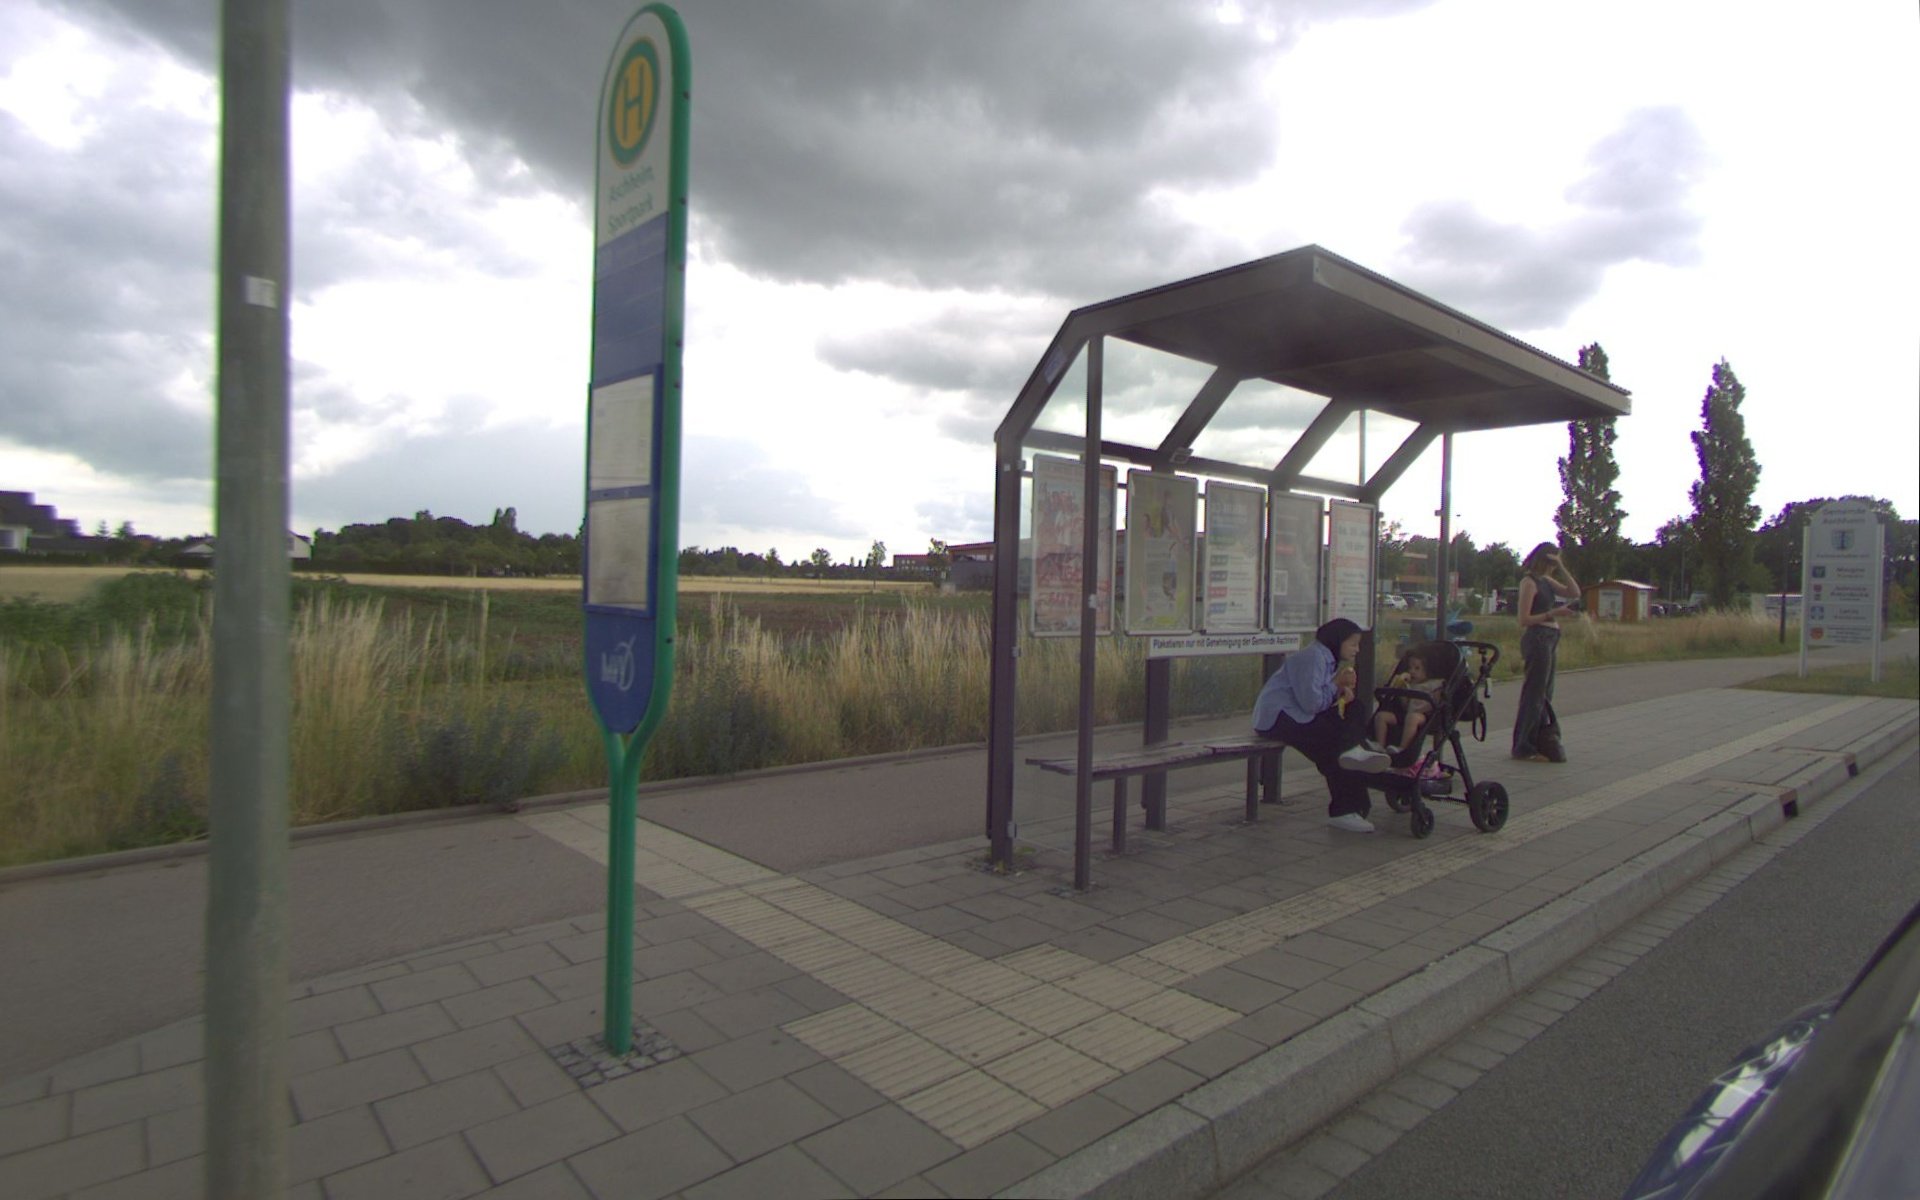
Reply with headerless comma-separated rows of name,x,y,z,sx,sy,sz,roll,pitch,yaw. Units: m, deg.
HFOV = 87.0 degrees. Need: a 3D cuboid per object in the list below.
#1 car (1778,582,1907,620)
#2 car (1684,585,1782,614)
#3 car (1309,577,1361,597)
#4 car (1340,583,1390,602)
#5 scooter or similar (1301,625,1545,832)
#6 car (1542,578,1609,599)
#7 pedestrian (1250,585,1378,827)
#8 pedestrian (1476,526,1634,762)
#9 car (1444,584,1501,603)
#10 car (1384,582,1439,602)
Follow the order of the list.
car,50.022,0.034,57.456,1.965,2.039,5.310,-1,0,-40
car,56.148,-0.068,73.539,5.508,2.039,1.969,0,0,43
car,39.876,-1.364,107.717,4.838,2.039,1.970,0,0,42
car,44.955,-0.824,112.448,4.838,2.039,1.970,0,0,42
scooter or similar,2.612,0.695,5.792,1.039,1.075,0.709,0,0,-4
car,62.342,-1.129,102.584,5.508,2.039,1.969,0,0,43
pedestrian,2.062,0.582,5.890,0.659,1.319,0.501,-1,-1,22
pedestrian,4.846,0.335,8.274,0.763,1.815,0.785,0,-1,-20
car,58.187,-0.722,114.912,5.508,2.039,1.969,0,0,43
car,46.854,-0.789,105.039,4.838,2.039,1.970,0,0,42
